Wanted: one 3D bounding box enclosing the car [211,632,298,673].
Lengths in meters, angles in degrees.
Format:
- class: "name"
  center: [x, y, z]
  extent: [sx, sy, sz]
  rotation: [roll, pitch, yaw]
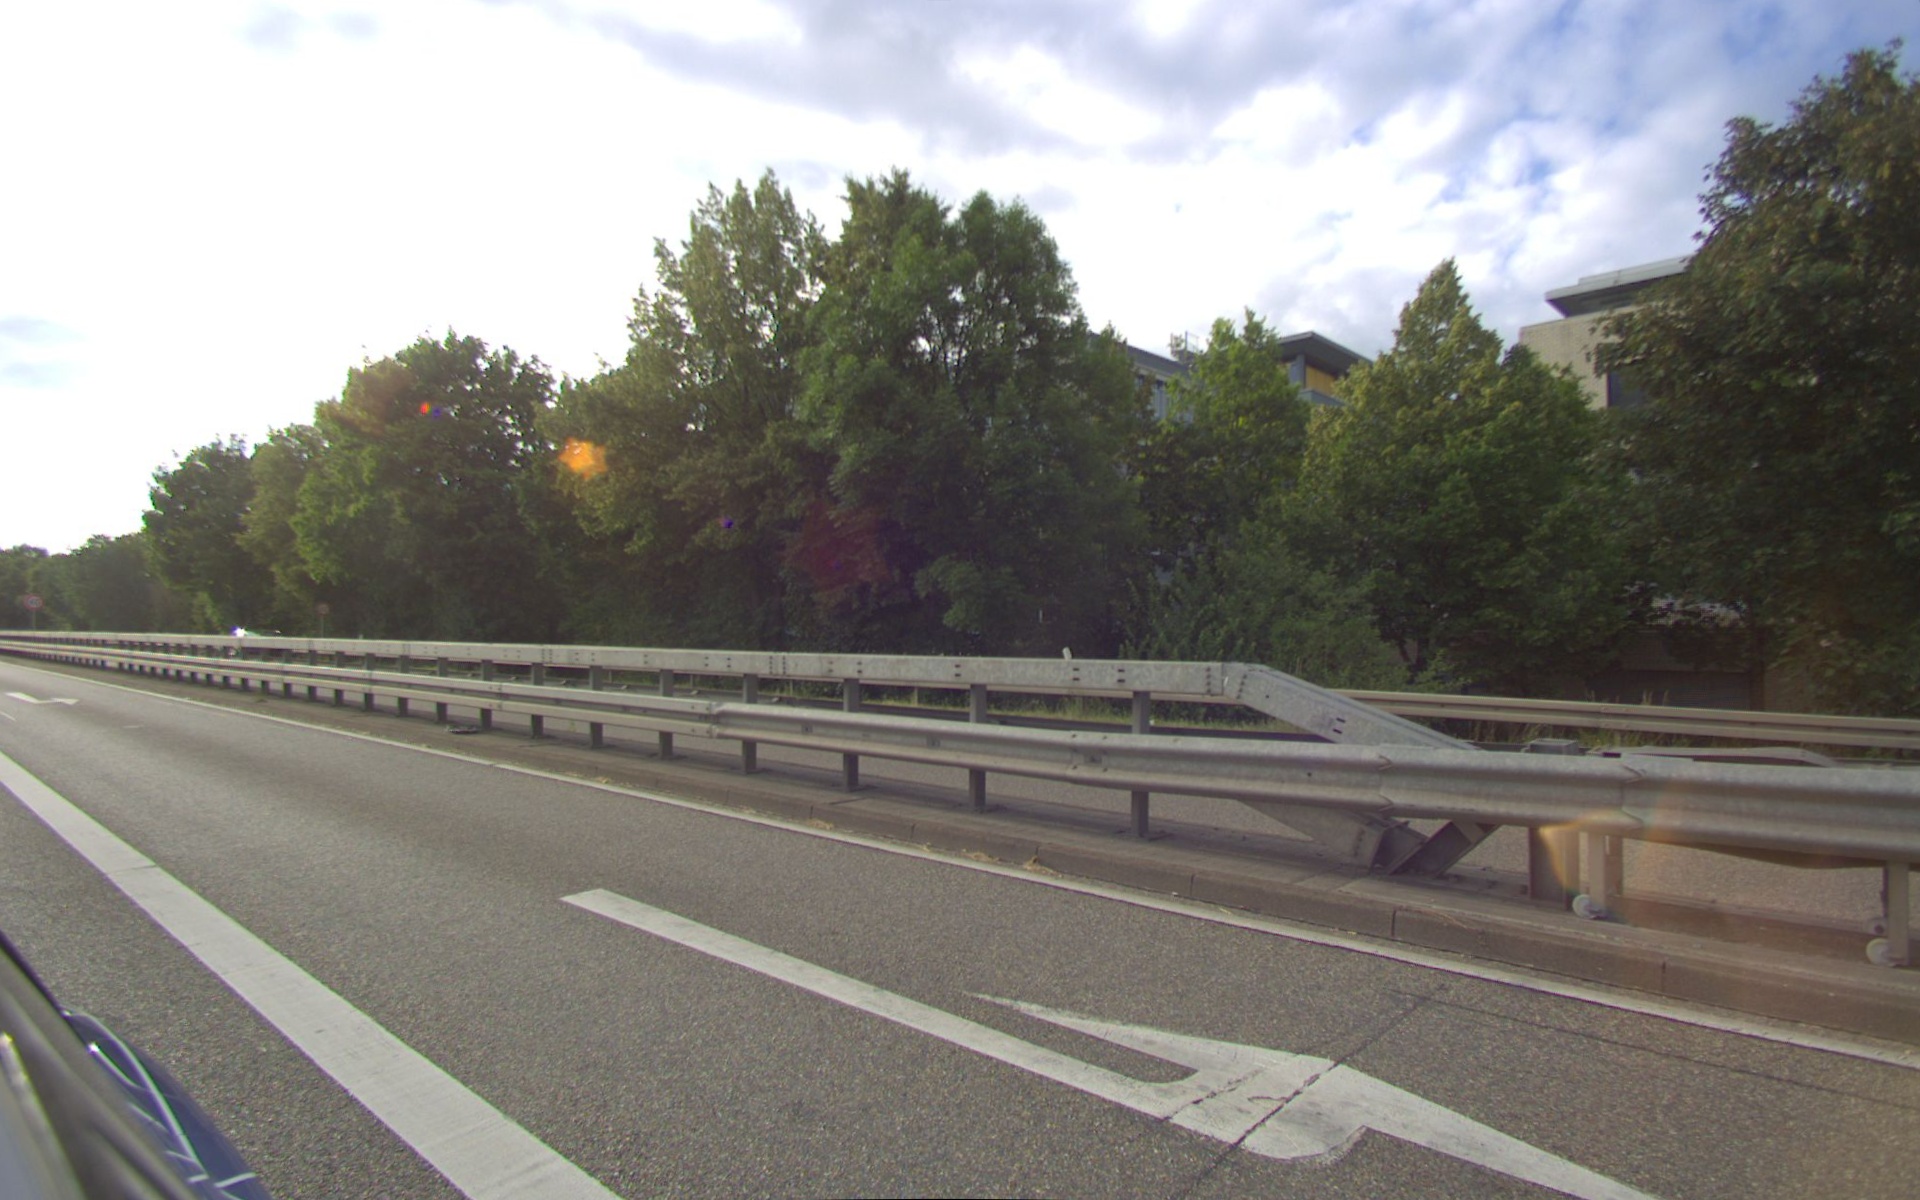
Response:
- class: "car"
  center: [-29.147, 2.125, 41.780]
  extent: [4.370, 1.468, 1.896]
  rotation: [-1, 0, 40]
